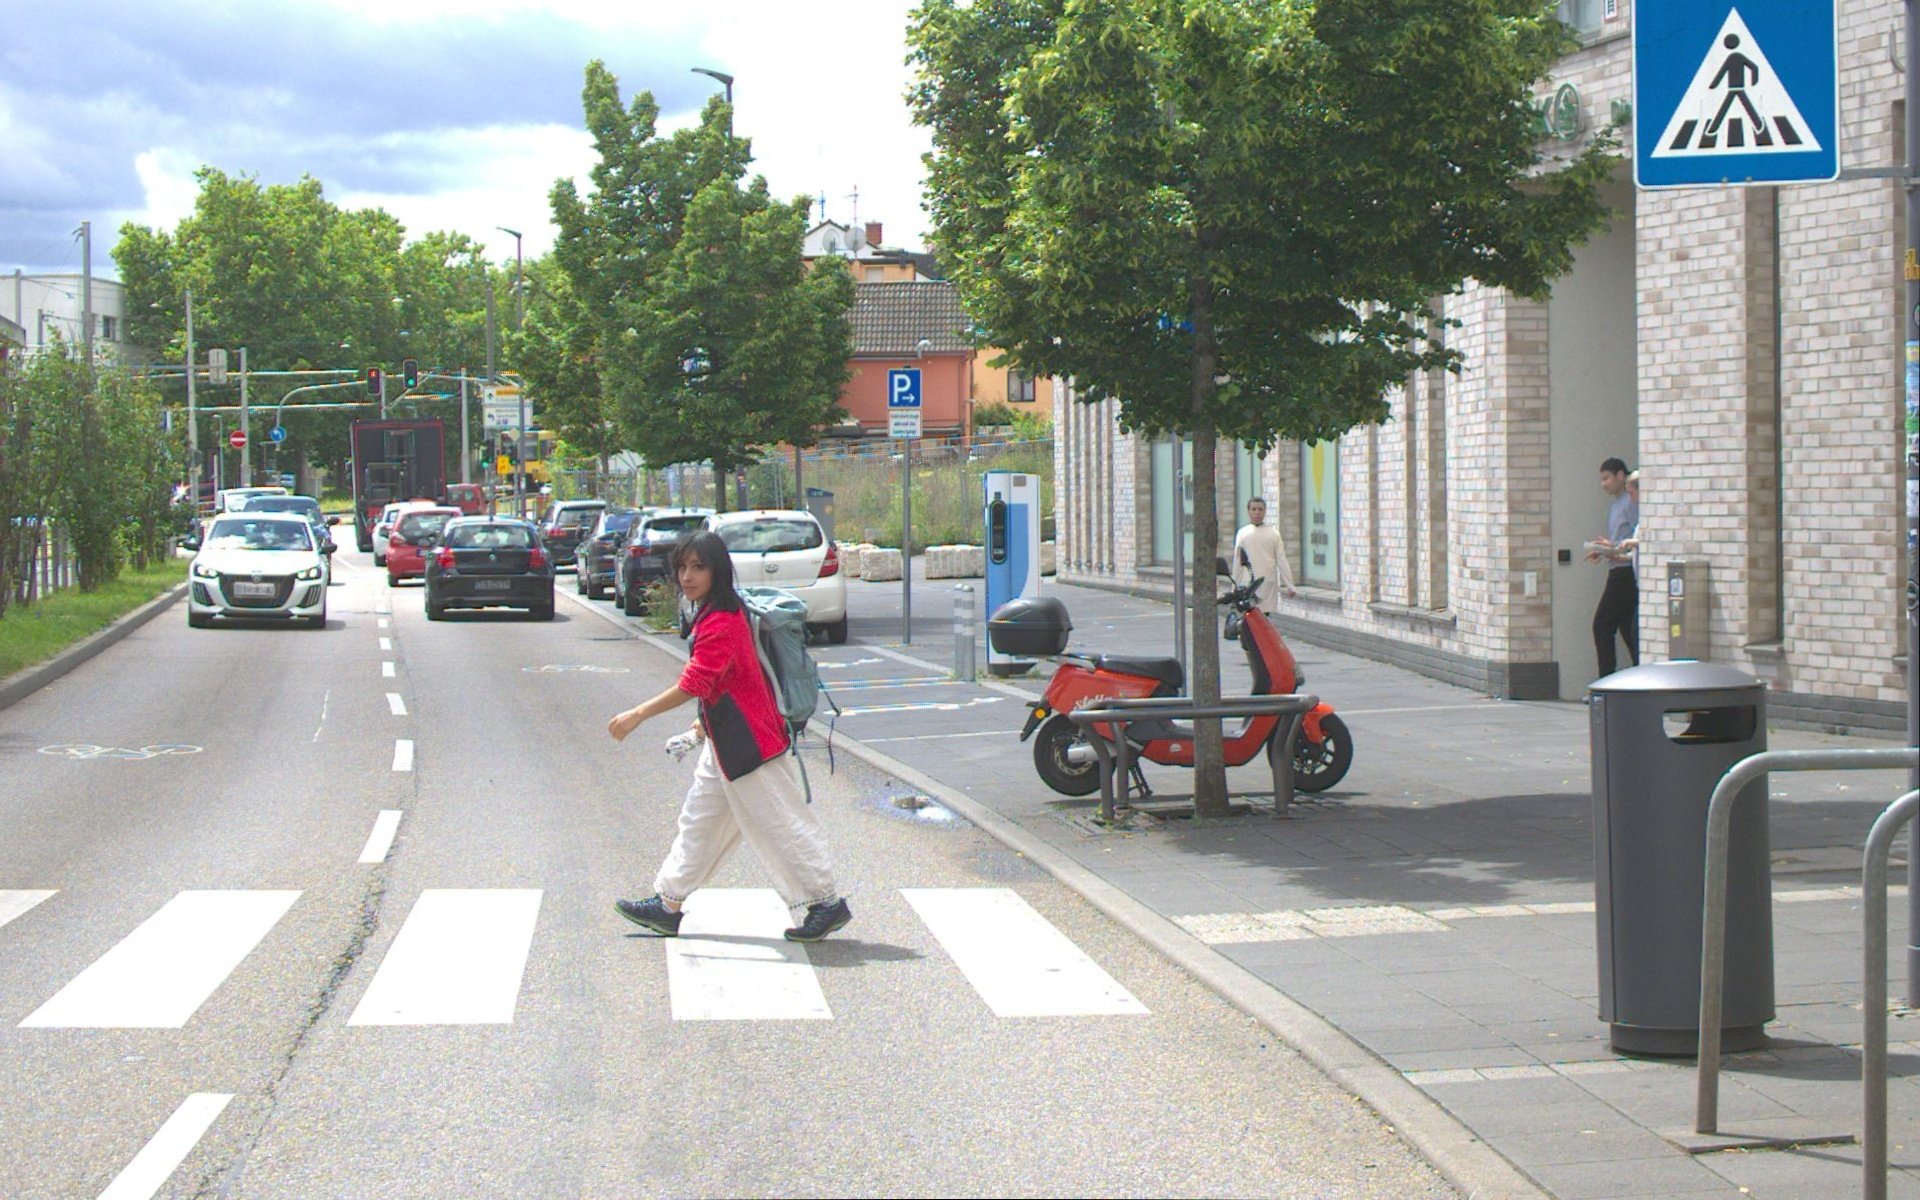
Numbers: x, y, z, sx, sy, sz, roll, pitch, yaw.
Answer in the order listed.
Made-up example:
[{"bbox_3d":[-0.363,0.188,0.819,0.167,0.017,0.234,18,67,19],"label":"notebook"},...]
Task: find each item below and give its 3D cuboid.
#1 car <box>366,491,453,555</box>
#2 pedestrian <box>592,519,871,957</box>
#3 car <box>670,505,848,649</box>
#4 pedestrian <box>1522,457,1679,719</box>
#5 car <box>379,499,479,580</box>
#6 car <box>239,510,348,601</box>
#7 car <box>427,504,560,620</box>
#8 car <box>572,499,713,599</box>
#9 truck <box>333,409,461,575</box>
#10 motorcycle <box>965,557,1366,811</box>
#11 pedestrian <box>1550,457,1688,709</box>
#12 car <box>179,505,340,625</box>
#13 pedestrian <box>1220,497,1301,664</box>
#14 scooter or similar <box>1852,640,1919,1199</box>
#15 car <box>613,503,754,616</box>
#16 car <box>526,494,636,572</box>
[{"bbox_3d":[-13.307,-1.850,82.979,1.887,1.460,4.070,-2,1,-11],"label":"car"},{"bbox_3d":[-0.859,0.495,12.739,0.927,1.560,0.815,1,0,-11],"label":"pedestrian"},{"bbox_3d":[-2.331,-0.300,39.119,1.692,1.478,3.799,-2,2,-8],"label":"car"},{"bbox_3d":[4.407,-0.087,23.685,0.732,1.760,0.758,-2,1,-23],"label":"pedestrian"},{"bbox_3d":[-9.918,-1.148,64.034,1.711,1.388,3.810,-2,3,-10],"label":"car"},{"bbox_3d":[-12.502,-0.861,64.441,1.919,1.599,4.628,0,2,-11],"label":"car"},{"bbox_3d":[-6.488,-0.561,47.599,1.726,1.451,3.810,-2,3,-9],"label":"car"},{"bbox_3d":[-5.111,-0.851,54.898,1.864,1.446,4.645,-2,2,-9],"label":"car"},{"bbox_3d":[-16.270,-3.003,98.876,3.202,4.520,9.031,0,0,-12],"label":"truck"},{"bbox_3d":[1.118,0.445,18.482,2.051,1.261,0.672,-2,1,9],"label":"motorcycle"},{"bbox_3d":[4.704,-0.122,24.563,0.735,1.760,0.624,-2,1,-15],"label":"pedestrian"},{"bbox_3d":[-8.978,-0.480,44.292,1.811,1.464,3.909,1,1,-9],"label":"car"},{"bbox_3d":[2.710,-0.187,31.089,0.607,1.467,0.791,-2,2,-1],"label":"pedestrian"},{"bbox_3d":[2.374,0.691,6.519,1.196,1.245,0.494,-2,1,-2],"label":"scooter or similar"},{"bbox_3d":[-3.943,-0.606,48.481,1.692,1.456,4.148,-2,2,-8],"label":"car"},{"bbox_3d":[-7.680,-1.372,69.387,1.781,1.446,4.478,-3,2,-11],"label":"car"}]
